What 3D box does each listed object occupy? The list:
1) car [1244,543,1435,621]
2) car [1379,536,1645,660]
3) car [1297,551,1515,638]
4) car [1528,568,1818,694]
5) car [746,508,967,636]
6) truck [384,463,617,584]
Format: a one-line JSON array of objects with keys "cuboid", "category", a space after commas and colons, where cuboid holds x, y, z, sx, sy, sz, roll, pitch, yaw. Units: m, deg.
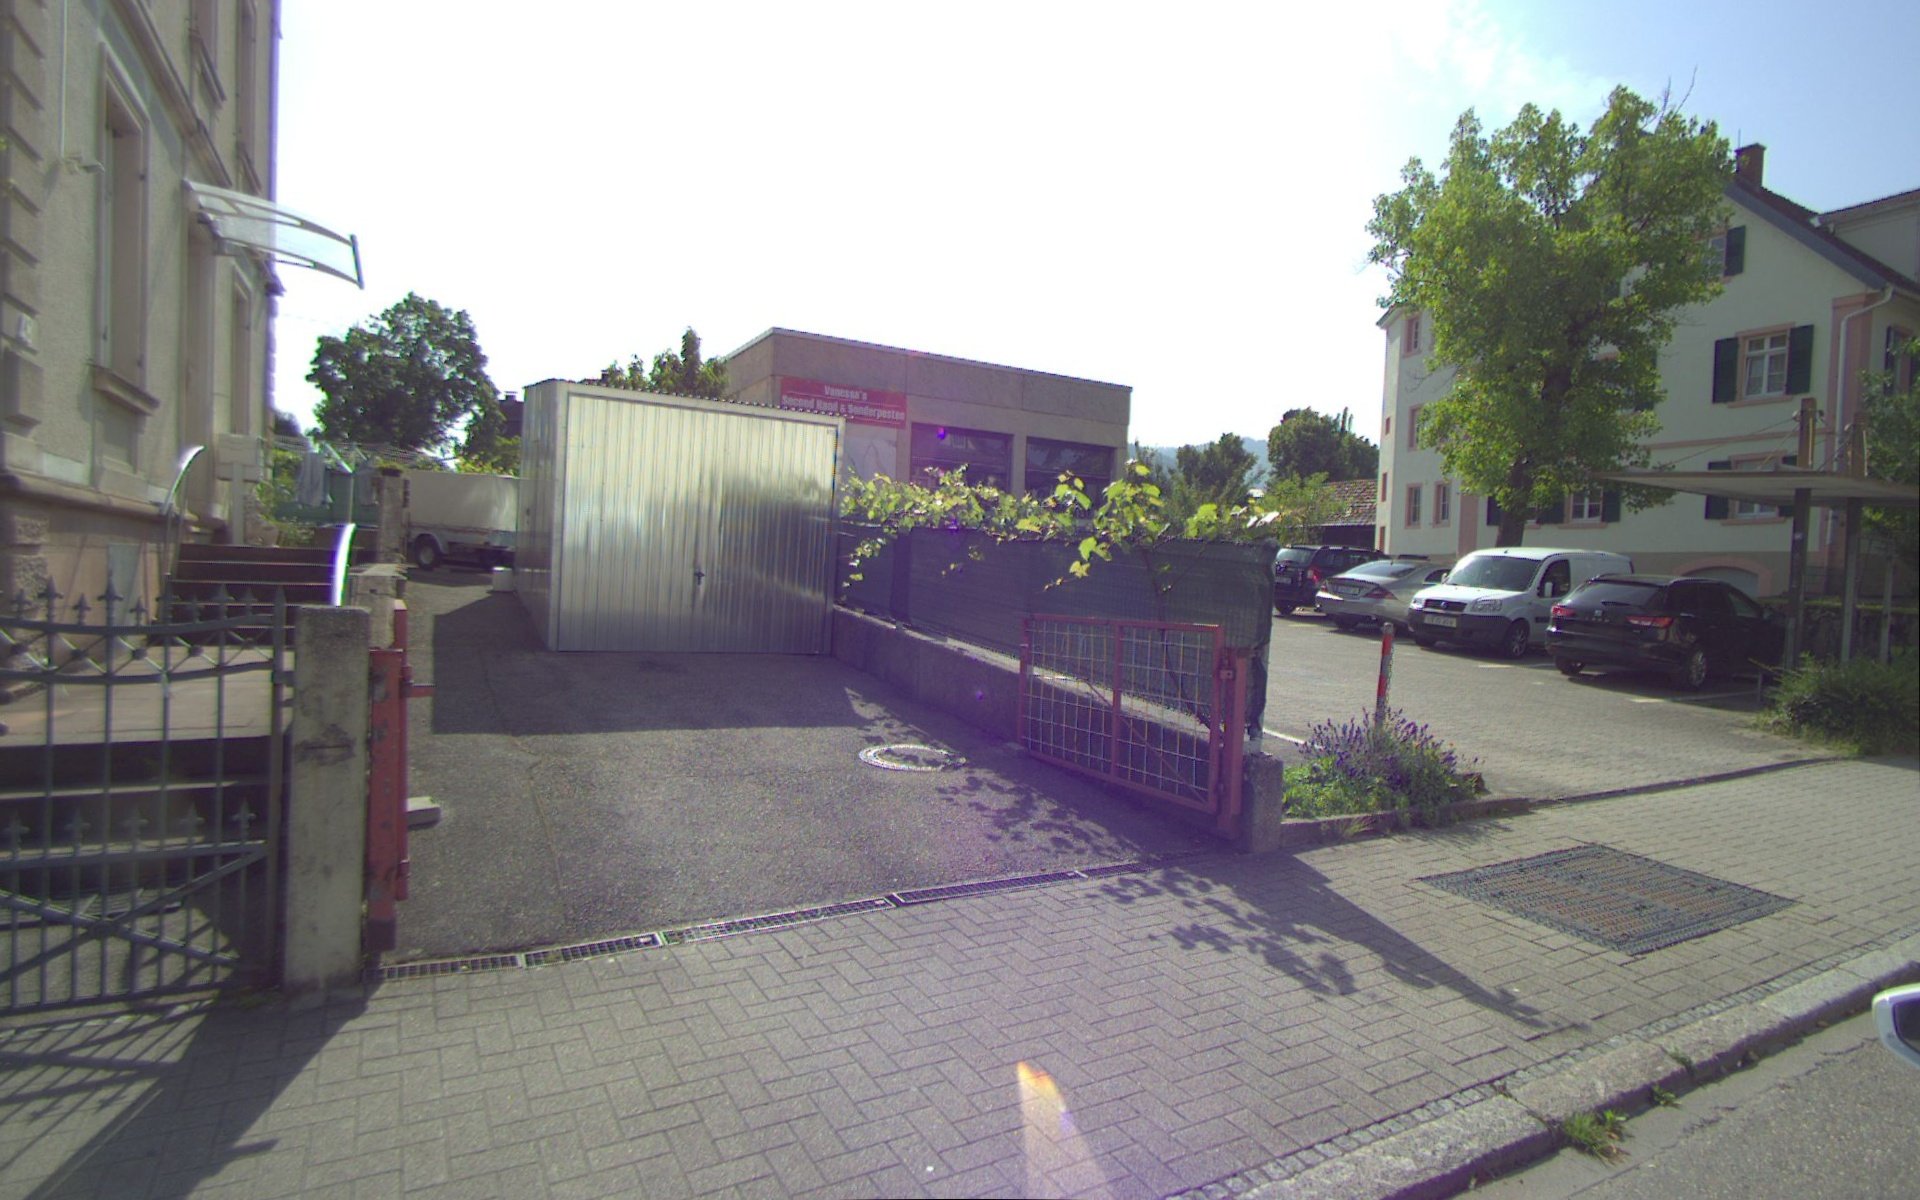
[{"cuboid": [8.420, -0.405, 22.246, 3.952, 1.526, 1.799, 0, 5, -30], "category": "car"}, {"cuboid": [9.443, -0.046, 17.097, 4.630, 1.796, 1.812, 1, 5, -32], "category": "car"}, {"cuboid": [8.631, -0.125, 19.398, 3.953, 1.442, 1.805, 0, 5, -30], "category": "car"}, {"cuboid": [10.096, 0.366, 14.149, 4.342, 1.482, 1.607, 0, 4, -30], "category": "car"}, {"cuboid": [-1.643, -0.472, 14.644, 1.686, 1.435, 3.810, 1, 6, -31], "category": "car"}, {"cuboid": [-7.667, -1.301, 16.869, 3.072, 1.670, 1.793, 6, 6, 14], "category": "truck"}]
